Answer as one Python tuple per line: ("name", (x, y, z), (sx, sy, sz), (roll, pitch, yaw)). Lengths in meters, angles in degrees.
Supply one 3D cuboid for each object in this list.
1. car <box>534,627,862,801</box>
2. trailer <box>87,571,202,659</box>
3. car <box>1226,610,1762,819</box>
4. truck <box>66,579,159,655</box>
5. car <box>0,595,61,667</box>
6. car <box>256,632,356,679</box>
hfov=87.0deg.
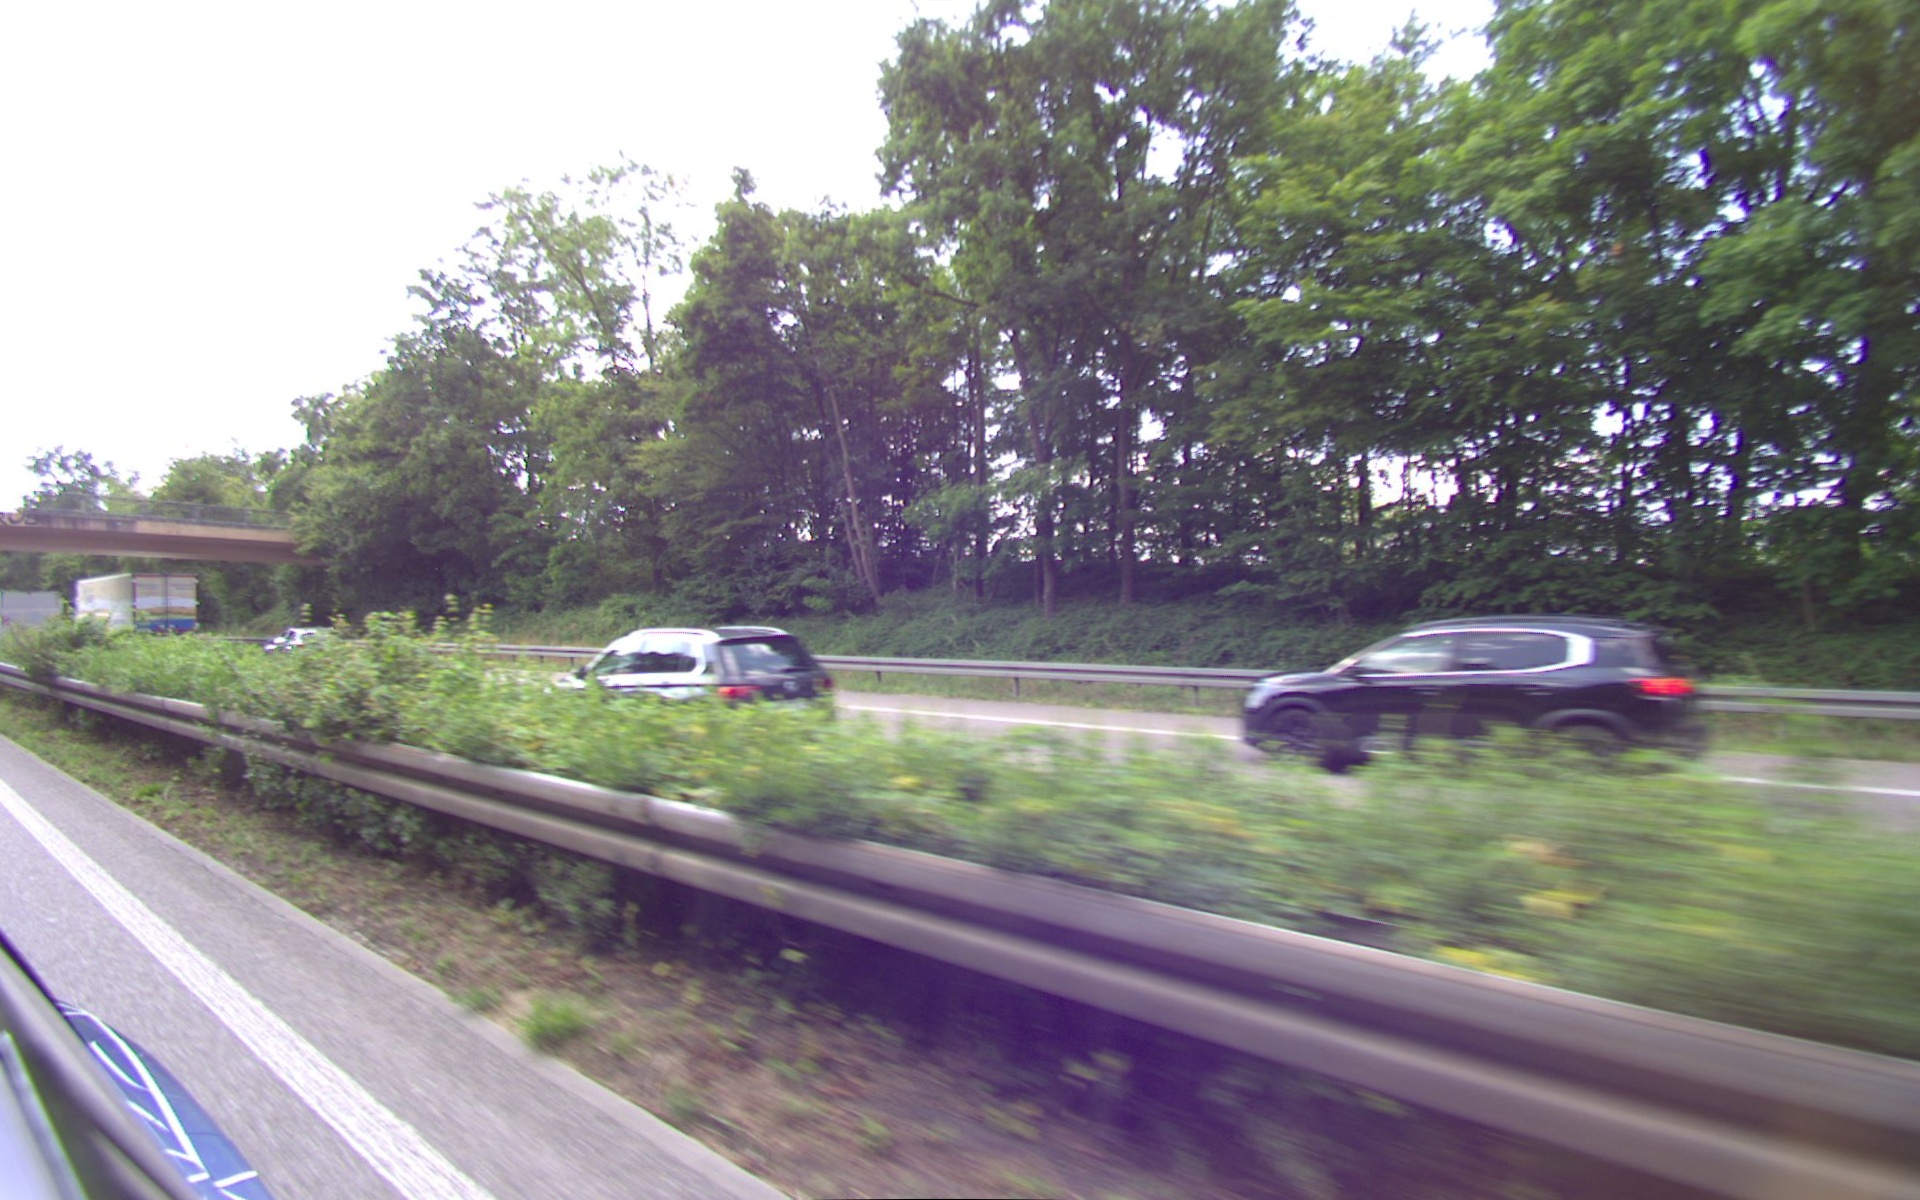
("car", (-3.106, 1.144, 11.604), (3.998, 1.643, 1.698), (-2, -2, 41))
("trailer", (-41.456, 0.810, 51.293), (9.971, 4.073, 3.027), (-2, -2, 42))
("car", (5.300, 0.986, 10.466), (4.592, 1.674, 1.809), (-2, -1, 41))
("truck", (-47.718, 0.988, 56.891), (6.745, 4.017, 3.008), (-2, -2, 41))
("car", (-45.381, 1.493, 48.675), (7.283, 3.257, 2.264), (-2, -2, 41))
("car", (-22.488, 1.853, 34.736), (4.468, 1.484, 1.716), (-2, -2, 41))
